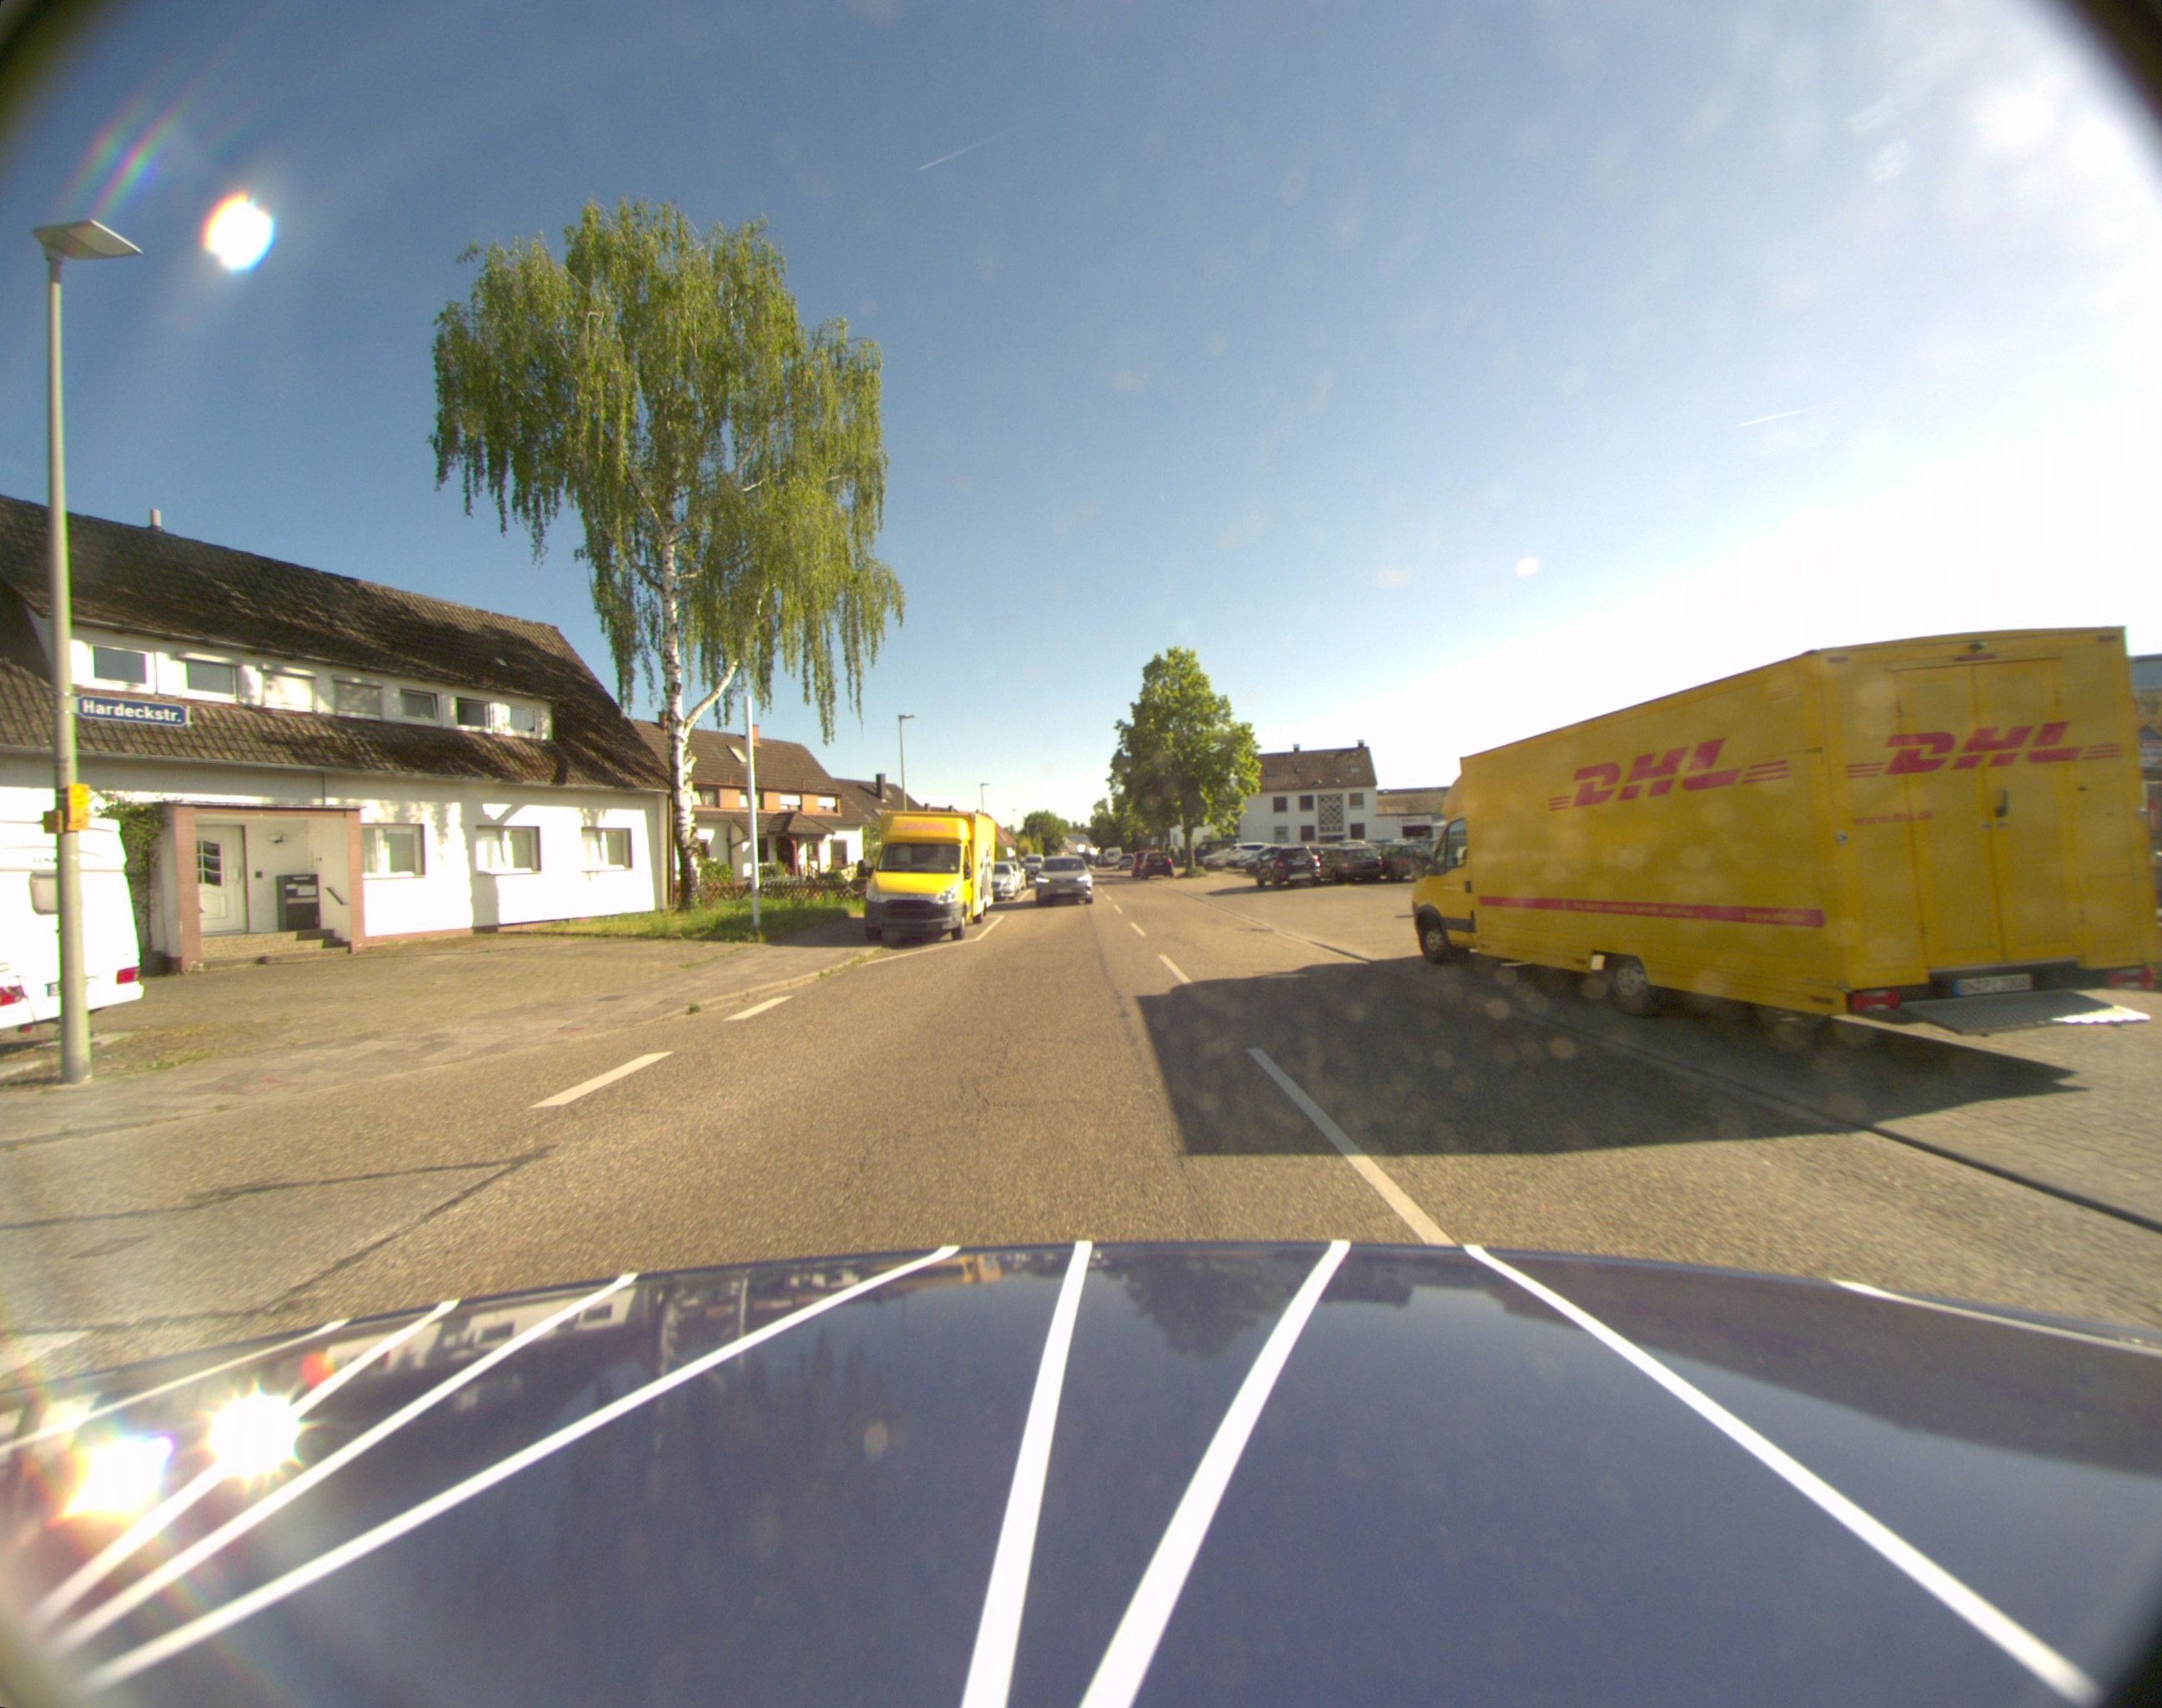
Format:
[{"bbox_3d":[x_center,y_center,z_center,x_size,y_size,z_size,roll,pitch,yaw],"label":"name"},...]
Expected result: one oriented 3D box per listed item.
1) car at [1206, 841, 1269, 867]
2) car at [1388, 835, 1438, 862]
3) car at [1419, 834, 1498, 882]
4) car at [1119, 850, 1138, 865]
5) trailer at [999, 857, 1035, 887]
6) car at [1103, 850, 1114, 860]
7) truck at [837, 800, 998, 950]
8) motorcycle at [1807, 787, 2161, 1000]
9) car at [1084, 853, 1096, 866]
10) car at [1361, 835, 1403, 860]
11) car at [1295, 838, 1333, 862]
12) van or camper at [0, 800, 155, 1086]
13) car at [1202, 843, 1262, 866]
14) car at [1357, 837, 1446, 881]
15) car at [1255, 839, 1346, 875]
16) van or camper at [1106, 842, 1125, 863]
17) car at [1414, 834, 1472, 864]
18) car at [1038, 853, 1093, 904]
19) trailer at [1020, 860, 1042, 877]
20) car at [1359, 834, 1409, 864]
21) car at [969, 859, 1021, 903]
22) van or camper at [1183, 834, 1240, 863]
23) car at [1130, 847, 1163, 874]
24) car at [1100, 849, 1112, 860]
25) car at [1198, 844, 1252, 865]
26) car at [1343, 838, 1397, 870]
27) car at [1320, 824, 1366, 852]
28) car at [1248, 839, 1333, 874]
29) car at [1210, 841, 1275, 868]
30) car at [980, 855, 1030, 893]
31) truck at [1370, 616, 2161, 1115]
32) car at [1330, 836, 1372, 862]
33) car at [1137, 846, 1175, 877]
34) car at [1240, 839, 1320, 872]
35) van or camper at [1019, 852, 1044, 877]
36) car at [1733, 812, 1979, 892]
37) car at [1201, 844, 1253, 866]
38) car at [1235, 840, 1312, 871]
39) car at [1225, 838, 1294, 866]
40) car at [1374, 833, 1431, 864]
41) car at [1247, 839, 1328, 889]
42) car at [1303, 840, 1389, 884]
[{"bbox_3d":[11.588,-0.041,56.469,4.258,1.742,1.766,-2,1,3],"label":"car"},{"bbox_3d":[20.508,-0.343,47.047,1.667,1.555,3.782,-3,0,5],"label":"car"},{"bbox_3d":[15.287,0.180,31.017,1.779,1.738,4.168,-2,-1,11],"label":"car"},{"bbox_3d":[5.004,0.328,80.598,1.691,1.427,4.209,-5,0,1],"label":"car"},{"bbox_3d":[-3.511,0.957,42.312,1.631,1.529,3.198,-3,0,0],"label":"trailer"},{"bbox_3d":[4.201,0.100,115.654,1.613,1.427,4.313,-4,0,2],"label":"car"},{"bbox_3d":[-3.560,0.367,18.279,2.409,2.920,7.014,0,1,-1],"label":"truck"},{"bbox_3d":[9.779,0.344,8.295,0.783,1.862,3.041,-5,0,3],"label":"motorcycle"},{"bbox_3d":[1.383,0.879,121.578,1.899,2.020,4.817,-1,1,0],"label":"car"},{"bbox_3d":[20.362,-0.423,51.531,1.667,1.555,3.717,-3,0,5],"label":"car"},{"bbox_3d":[16.133,-0.267,52.711,1.667,1.508,4.001,-3,0,5],"label":"car"},{"bbox_3d":[-12.570,0.901,6.202,5.839,2.526,2.285,-3,1,-26],"label":"van or camper"},{"bbox_3d":[11.662,0.040,58.822,4.260,1.576,1.765,-3,0,-2],"label":"car"},{"bbox_3d":[12.701,0.166,30.412,1.866,1.580,4.276,-2,1,2],"label":"car"},{"bbox_3d":[11.349,0.148,39.480,4.258,1.719,1.766,-2,1,5],"label":"car"},{"bbox_3d":[4.631,-0.163,102.772,2.128,2.475,5.556,-4,-1,1],"label":"van or camper"},{"bbox_3d":[20.208,-0.280,42.601,1.667,1.555,3.850,-3,0,5],"label":"car"},{"bbox_3d":[-0.580,0.835,27.167,1.777,1.624,3.703,-2,0,-2],"label":"car"},{"bbox_3d":[-3.862,1.107,59.044,1.632,1.210,3.143,-3,0,-3],"label":"trailer"},{"bbox_3d":[18.329,-0.310,46.113,1.667,1.684,4.001,-3,0,5],"label":"car"},{"bbox_3d":[-3.385,1.028,30.581,1.789,1.533,4.535,-3,0,-4],"label":"car"},{"bbox_3d":[11.896,-0.506,69.281,4.901,2.307,2.245,-3,1,11],"label":"van or camper"},{"bbox_3d":[4.578,0.432,53.709,1.808,1.742,4.341,-4,1,0],"label":"car"},{"bbox_3d":[4.037,0.089,122.584,1.697,1.557,3.907,-5,0,2],"label":"car"},{"bbox_3d":[11.922,0.017,63.132,4.258,1.533,1.766,-3,1,5],"label":"car"},{"bbox_3d":[15.290,-0.025,40.387,1.667,1.508,4.001,-3,0,5],"label":"car"},{"bbox_3d":[15.938,-0.955,46.381,1.667,1.508,4.001,-3,0,5],"label":"car"},{"bbox_3d":[11.502,0.112,41.911,4.258,1.719,1.766,-2,1,5],"label":"car"},{"bbox_3d":[11.423,0.003,53.962,4.258,1.719,1.766,-2,1,5],"label":"car"},{"bbox_3d":[-3.514,0.898,35.948,1.678,1.533,4.043,-3,0,3],"label":"car"},{"bbox_3d":[5.935,0.026,8.347,2.409,2.966,7.243,-4,1,-2],"label":"truck"},{"bbox_3d":[18.201,-0.337,51.342,1.667,1.609,4.001,-3,0,5],"label":"car"},{"bbox_3d":[4.646,0.432,47.609,1.678,1.761,4.554,-5,0,-1],"label":"car"},{"bbox_3d":[11.549,0.074,44.295,4.258,1.719,1.766,-2,1,5],"label":"car"},{"bbox_3d":[-4.133,0.851,63.956,1.723,1.880,4.179,-3,1,1],"label":"van or camper"},{"bbox_3d":[17.345,-0.005,17.375,1.779,1.536,4.301,-2,-1,11],"label":"car"},{"bbox_3d":[11.680,0.091,60.801,3.815,1.533,1.548,-3,1,0],"label":"car"},{"bbox_3d":[11.800,0.085,46.806,4.259,1.719,1.766,-2,1,1],"label":"car"},{"bbox_3d":[12.131,-0.158,51.771,4.259,1.719,1.765,-2,1,0],"label":"car"},{"bbox_3d":[17.424,-0.294,41.323,1.667,1.555,4.001,-3,0,5],"label":"car"},{"bbox_3d":[8.154,0.362,30.399,1.866,1.704,4.275,-5,1,-1],"label":"car"},{"bbox_3d":[10.532,0.291,30.538,1.866,1.580,4.275,-2,1,-1],"label":"car"}]
